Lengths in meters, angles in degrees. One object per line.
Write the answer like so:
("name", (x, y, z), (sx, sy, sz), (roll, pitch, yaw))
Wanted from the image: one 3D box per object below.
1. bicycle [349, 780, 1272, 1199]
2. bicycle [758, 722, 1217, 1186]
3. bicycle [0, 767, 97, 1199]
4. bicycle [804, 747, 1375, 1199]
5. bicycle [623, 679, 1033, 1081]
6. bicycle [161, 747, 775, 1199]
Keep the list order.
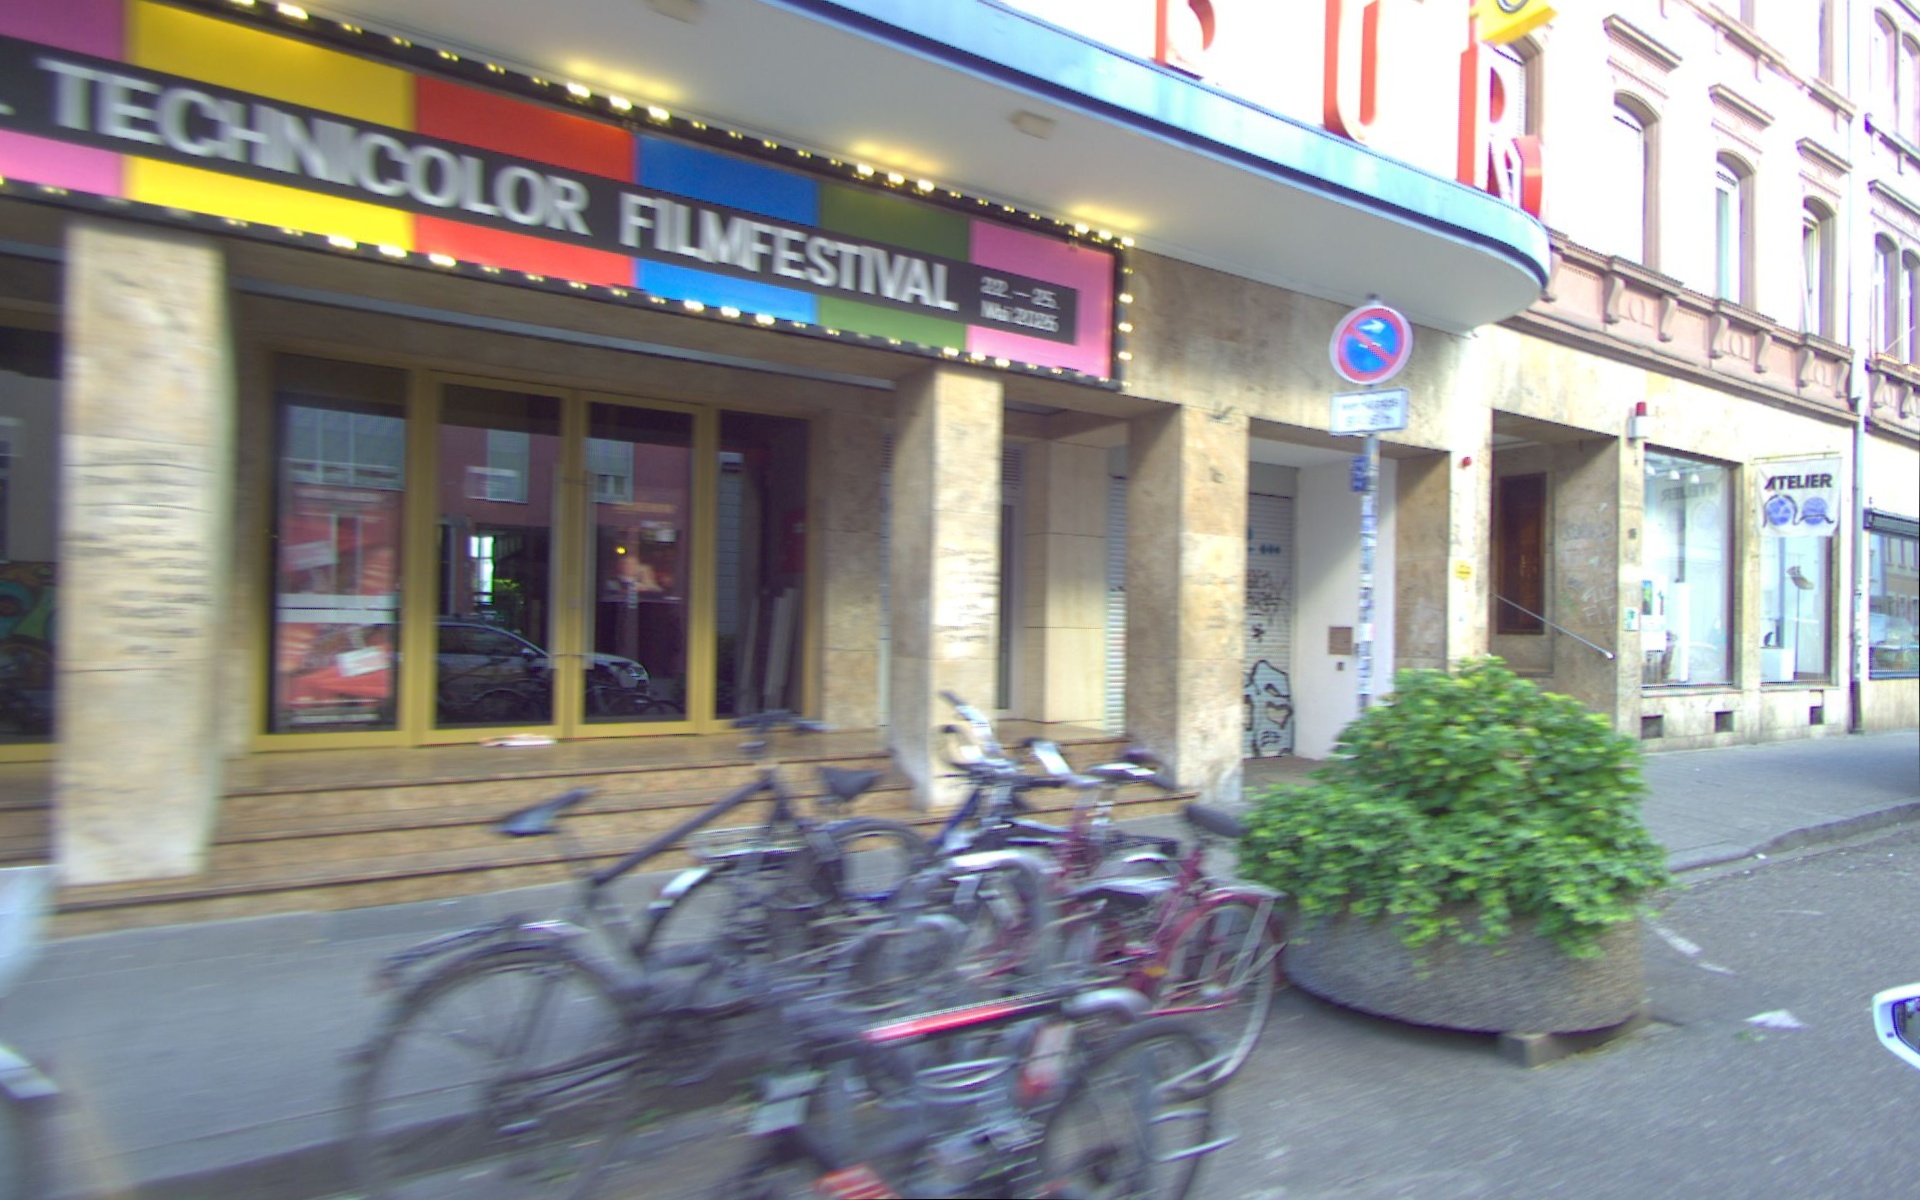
("bicycle", (-0.059, 0.984, 1.812), (0.455, 1.061, 1.740), (2, 0, 43))
("bicycle", (0.166, 1.076, 3.470), (1.653, 1.189, 0.396), (2, 0, -35))
("bicycle", (-2.599, 0.934, 1.895), (1.396, 1.059, 0.570), (2, -1, -35))
("bicycle", (0.482, 1.049, 2.979), (1.846, 1.061, 0.439), (2, 0, -35))
("bicycle", (-0.425, 0.913, 3.673), (1.475, 1.189, 0.336), (2, 0, -35))
("bicycle", (-1.173, 0.969, 2.556), (1.305, 1.061, 0.414), (2, 0, -35))
